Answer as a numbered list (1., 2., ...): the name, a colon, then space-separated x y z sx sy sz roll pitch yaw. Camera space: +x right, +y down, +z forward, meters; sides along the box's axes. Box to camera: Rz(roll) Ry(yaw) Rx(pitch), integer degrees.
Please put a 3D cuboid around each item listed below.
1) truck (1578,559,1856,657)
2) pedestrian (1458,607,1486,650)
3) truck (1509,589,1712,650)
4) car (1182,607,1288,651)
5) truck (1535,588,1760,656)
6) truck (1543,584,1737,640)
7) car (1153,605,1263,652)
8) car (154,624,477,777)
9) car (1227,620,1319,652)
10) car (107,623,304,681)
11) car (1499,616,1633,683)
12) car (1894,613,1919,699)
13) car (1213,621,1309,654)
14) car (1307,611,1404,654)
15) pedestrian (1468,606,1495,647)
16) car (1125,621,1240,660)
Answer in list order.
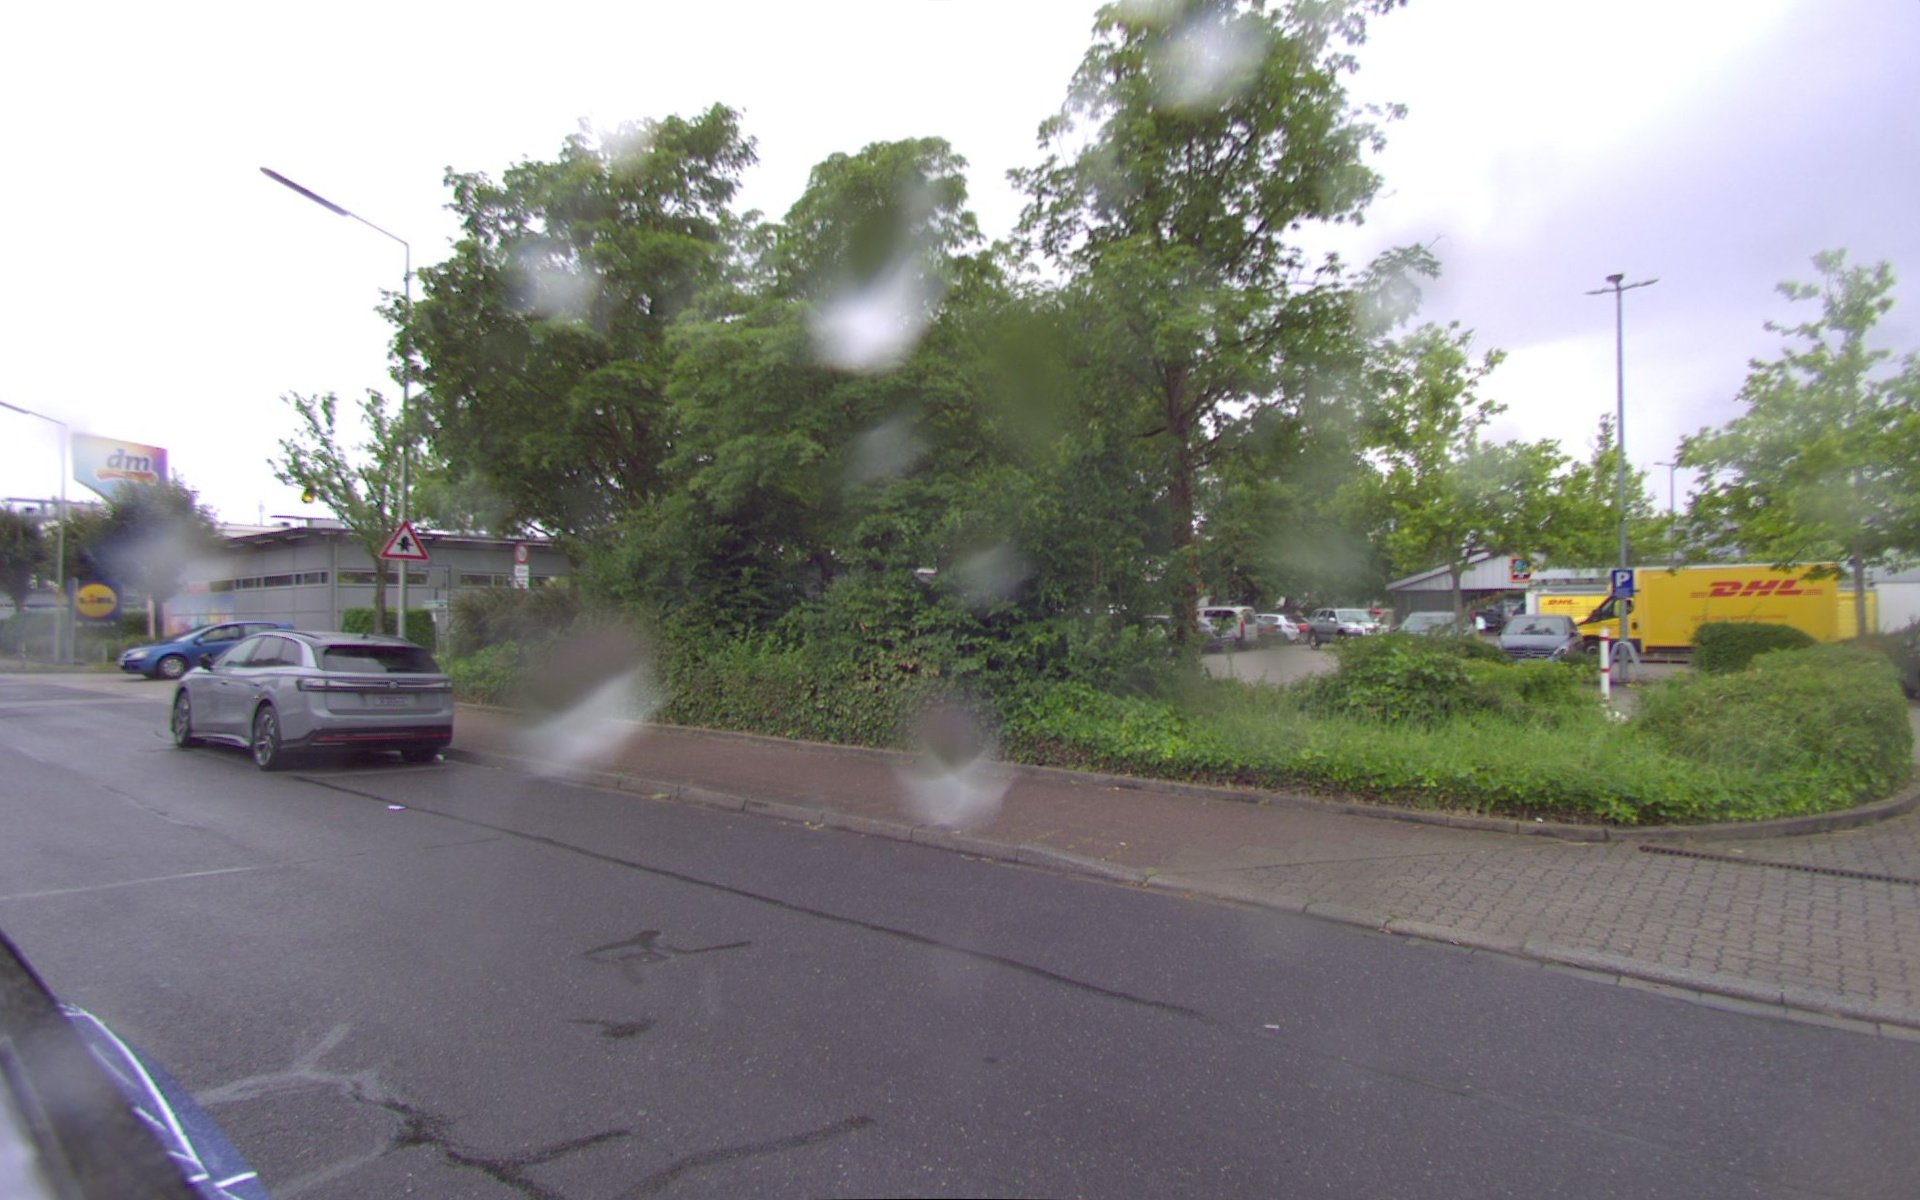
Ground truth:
1. truck: 22.142 0.294 29.911 6.391 2.621 1.973 -1 -2 40
2. pedestrian: 23.742 1.315 46.933 0.910 1.977 1.291 -1 -2 38
3. truck: 23.874 0.733 37.329 6.123 2.076 1.975 -1 -2 37
4. car: 11.801 1.243 43.474 3.987 1.829 1.978 -1 -2 33
5. truck: 23.128 0.753 34.317 6.123 2.110 1.975 -1 -2 37
6. truck: 26.404 0.509 39.518 6.123 2.076 1.975 -1 -2 37
7. car: 10.204 1.162 41.644 3.987 1.829 1.978 -1 -2 33
8. car: -8.053 1.124 12.468 4.741 1.540 1.791 -1 -5 38
9. car: 15.548 1.775 50.256 3.987 1.497 1.978 -1 -2 33
10. car: -20.244 1.374 27.288 1.734 1.452 3.949 -2 -3 38
11. car: 14.392 1.102 23.951 1.999 1.431 3.945 -2 -2 42
12. car: 17.373 0.960 17.164 1.709 1.471 4.153 -1 -2 36
13. car: 14.268 1.779 48.066 3.987 1.497 1.978 -1 -2 33
14. car: 15.499 1.259 39.936 1.997 1.562 4.295 -1 -1 -2
15. pedestrian: 25.642 1.309 49.771 0.910 1.977 1.291 -1 -2 38
16. car: 8.710 1.567 39.724 3.987 1.431 1.978 -1 -2 33
